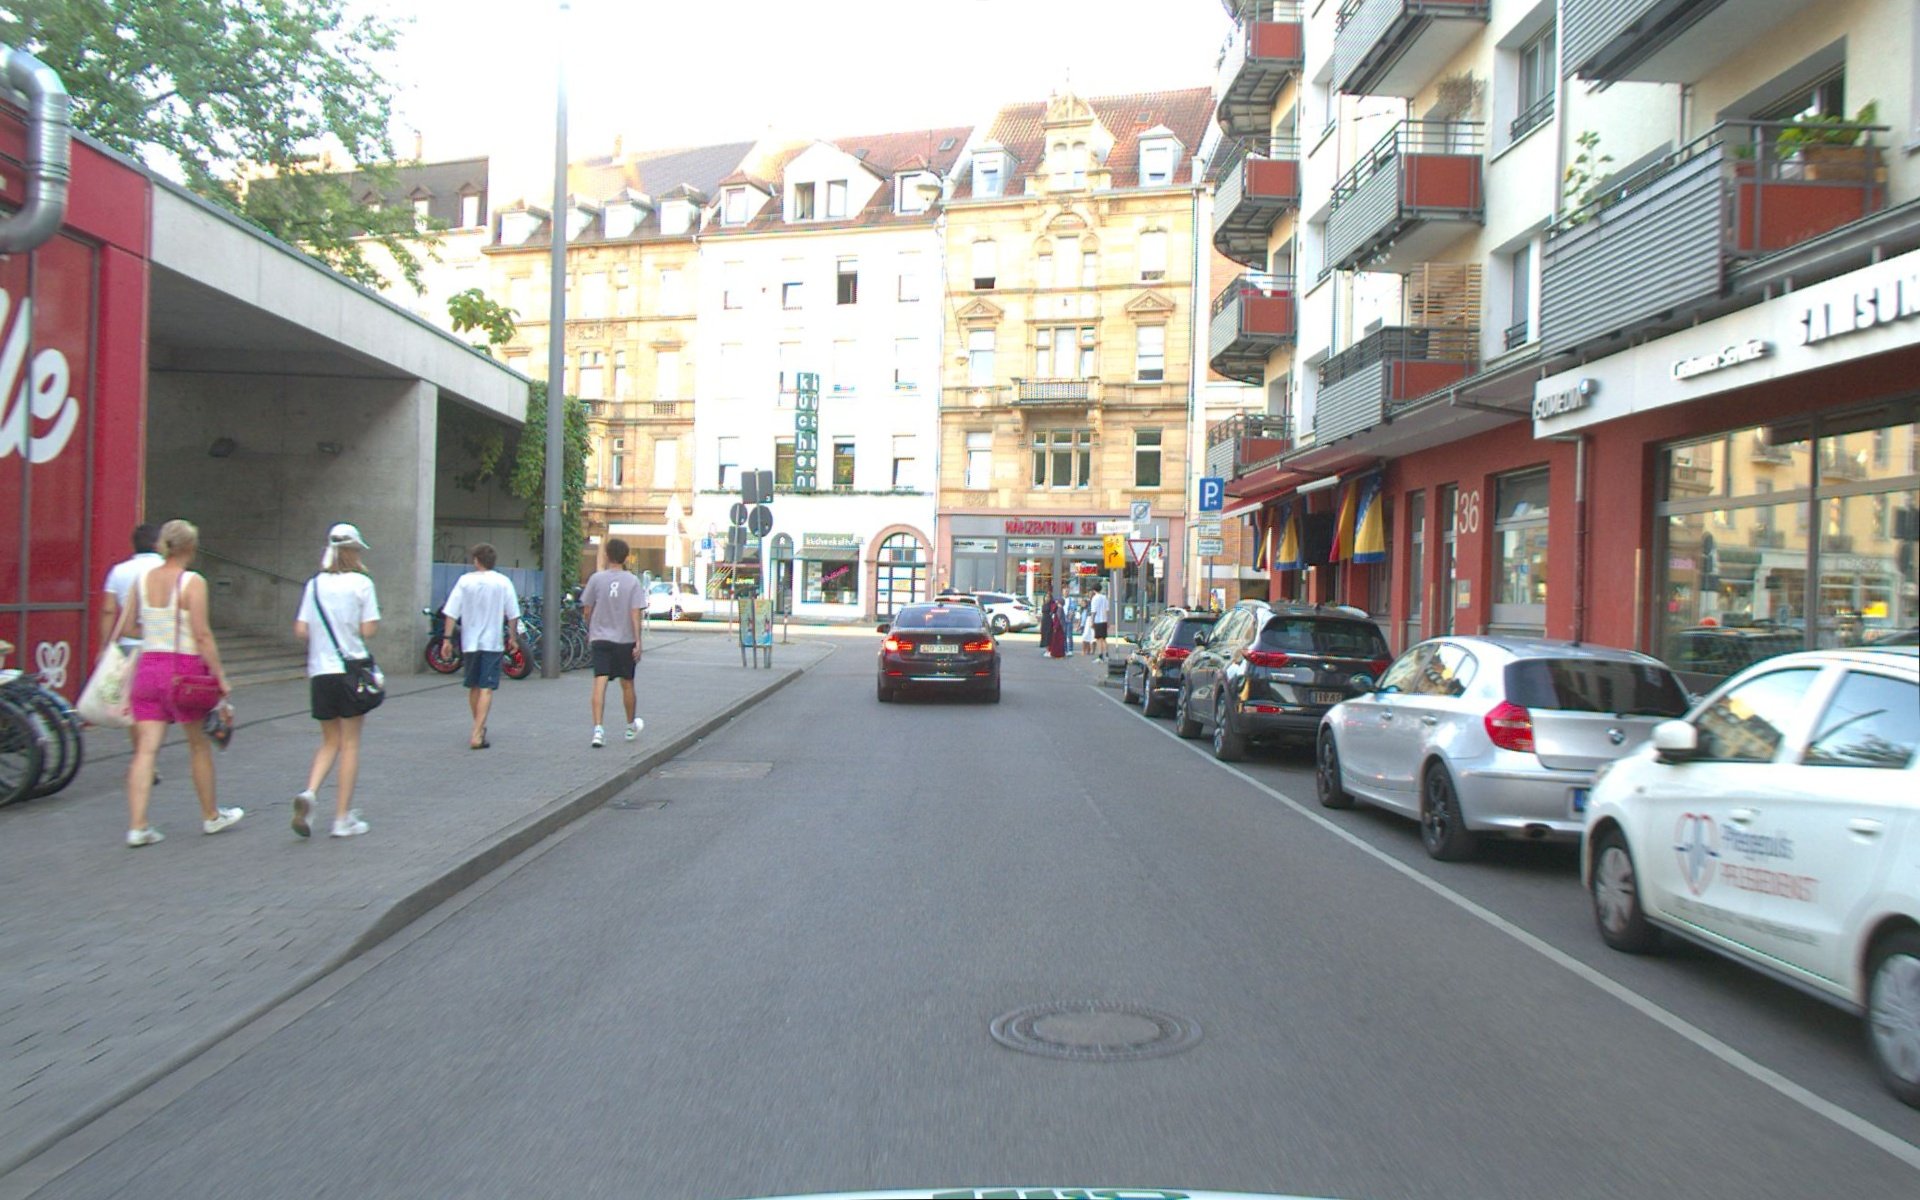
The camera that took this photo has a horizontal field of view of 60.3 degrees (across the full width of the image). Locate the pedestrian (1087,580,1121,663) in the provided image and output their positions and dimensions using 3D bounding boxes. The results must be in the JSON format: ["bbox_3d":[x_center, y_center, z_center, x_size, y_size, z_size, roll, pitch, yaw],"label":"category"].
[{"bbox_3d":[3.405,0.504,39.183,0.662,1.910,0.701,2,0,12],"label":"pedestrian"}]

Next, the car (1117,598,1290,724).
[{"bbox_3d":[3.470,0.806,24.411,1.729,1.528,4.790,4,1,0],"label":"car"}]

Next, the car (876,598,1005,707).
[{"bbox_3d":[-0.282,0.718,25.123,1.729,1.399,4.790,2,1,0],"label":"car"}]

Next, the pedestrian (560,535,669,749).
[{"bbox_3d":[-3.250,0.378,15.620,0.729,1.926,1.050,2,0,0],"label":"pedestrian"}]

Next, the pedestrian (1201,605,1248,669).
[{"bbox_3d":[5.430,0.747,33.953,0.841,1.279,0.491,-2,0,-1],"label":"pedestrian"}]

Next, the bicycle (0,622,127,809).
[{"bbox_3d":[-6.341,0.705,10.572,1.757,1.127,0.500,2,0,2],"label":"bicycle"}]

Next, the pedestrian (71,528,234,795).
[{"bbox_3d":[-5.633,0.414,11.579,0.702,1.785,0.848,1,0,-2],"label":"pedestrian"}]

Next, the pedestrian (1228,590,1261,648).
[{"bbox_3d":[6.075,0.411,35.341,0.415,1.222,0.529,-2,0,-44],"label":"pedestrian"}]

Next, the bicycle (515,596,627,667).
[{"bbox_3d":[-6.732,0.545,28.656,1.758,1.127,0.500,3,0,-1],"label":"bicycle"}]

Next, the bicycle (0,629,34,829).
[{"bbox_3d":[-6.333,0.710,9.469,1.757,1.127,0.500,2,0,2],"label":"bicycle"}]

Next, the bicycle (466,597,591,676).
[{"bbox_3d":[-6.694,0.557,25.678,1.758,1.127,0.500,3,0,-2],"label":"bicycle"}]

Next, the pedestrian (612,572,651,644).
[{"bbox_3d":[-8.188,0.193,41.230,0.661,1.776,0.654,1,0,39],"label":"pedestrian"}]

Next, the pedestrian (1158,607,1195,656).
[{"bbox_3d":[5.302,0.759,40.597,0.871,1.170,0.619,1,0,6],"label":"pedestrian"}]

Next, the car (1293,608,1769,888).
[{"bbox_3d":[3.826,0.889,11.988,1.665,1.477,4.456,4,1,-3],"label":"car"}]

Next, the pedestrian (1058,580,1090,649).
[{"bbox_3d":[2.965,0.377,42.949,0.596,1.776,0.665,1,0,-21],"label":"pedestrian"}]

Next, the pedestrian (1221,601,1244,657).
[{"bbox_3d":[6.453,0.690,39.158,0.479,1.299,0.522,1,0,12],"label":"pedestrian"}]

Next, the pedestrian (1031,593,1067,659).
[{"bbox_3d":[2.262,0.657,42.148,0.711,1.637,0.649,3,0,-10],"label":"pedestrian"}]

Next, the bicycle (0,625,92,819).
[{"bbox_3d":[-6.327,0.706,10.102,1.757,1.127,0.500,2,0,2],"label":"bicycle"}]

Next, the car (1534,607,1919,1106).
[{"bbox_3d":[3.889,0.875,6.812,1.574,1.538,4.048,4,1,0],"label":"car"}]

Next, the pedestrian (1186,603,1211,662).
[{"bbox_3d":[5.427,0.734,37.635,0.481,1.326,0.418,-2,0,-1],"label":"pedestrian"}]

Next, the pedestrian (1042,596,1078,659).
[{"bbox_3d":[2.504,0.682,41.494,0.722,1.540,0.649,3,0,-10],"label":"pedestrian"}]

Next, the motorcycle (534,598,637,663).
[{"bbox_3d":[-6.845,0.565,30.276,1.731,1.120,0.560,3,0,-36],"label":"motorcycle"}]

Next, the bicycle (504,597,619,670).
[{"bbox_3d":[-6.670,0.550,27.726,1.759,1.127,0.500,3,0,-4],"label":"bicycle"}]

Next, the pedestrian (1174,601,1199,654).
[{"bbox_3d":[5.642,0.677,41.251,0.604,1.306,0.660,1,0,7],"label":"pedestrian"}]

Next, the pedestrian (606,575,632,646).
[{"bbox_3d":[-8.197,0.247,39.810,0.490,1.672,0.521,1,0,1],"label":"pedestrian"}]

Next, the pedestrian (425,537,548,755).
[{"bbox_3d":[-4.224,0.391,14.816,0.726,1.844,1.008,3,0,-1],"label":"pedestrian"}]

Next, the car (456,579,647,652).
[{"bbox_3d":[-8.978,0.337,36.630,3.913,1.527,1.887,1,0,-9],"label":"car"}]

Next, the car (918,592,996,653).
[{"bbox_3d":[-0.030,0.570,44.159,1.838,1.498,4.002,1,1,3],"label":"car"}]

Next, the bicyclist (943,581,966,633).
[{"bbox_3d":[-0.192,0.251,57.989,0.518,1.787,0.613,2,0,-32],"label":"bicyclist"}]

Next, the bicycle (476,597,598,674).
[{"bbox_3d":[-6.707,0.555,26.272,1.757,1.127,0.500,3,0,1],"label":"bicycle"}]

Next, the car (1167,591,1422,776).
[{"bbox_3d":[3.564,0.797,18.521,1.729,1.670,4.790,4,1,-1],"label":"car"}]

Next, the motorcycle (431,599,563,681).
[{"bbox_3d":[-6.788,0.576,24.243,1.764,1.082,0.764,3,0,25],"label":"motorcycle"}]

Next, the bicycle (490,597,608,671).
[{"bbox_3d":[-6.698,0.552,27.022,1.760,1.127,0.499,3,0,-6],"label":"bicycle"}]

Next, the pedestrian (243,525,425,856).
[{"bbox_3d":[-3.563,0.486,9.487,0.636,1.780,0.985,2,0,-1],"label":"pedestrian"}]

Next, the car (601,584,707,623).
[{"bbox_3d":[-12.566,0.137,67.967,3.905,1.537,1.800,1,-1,22],"label":"car"}]

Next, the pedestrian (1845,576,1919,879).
[{"bbox_3d":[5.632,0.705,9.565,0.635,1.690,0.655,-2,0,1],"label":"pedestrian"}]

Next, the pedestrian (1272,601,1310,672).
[{"bbox_3d":[6.530,0.717,32.623,0.594,1.371,0.696,0,0,-2],"label":"pedestrian"}]

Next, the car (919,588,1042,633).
[{"bbox_3d":[0.772,0.386,62.464,4.262,1.589,1.868,1,-1,22],"label":"car"}]

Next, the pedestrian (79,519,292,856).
[{"bbox_3d":[-4.344,0.469,9.337,0.737,1.780,0.846,3,0,-2],"label":"pedestrian"}]

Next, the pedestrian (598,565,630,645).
[{"bbox_3d":[-8.458,0.120,40.441,0.571,1.915,0.634,1,0,5],"label":"pedestrian"}]
